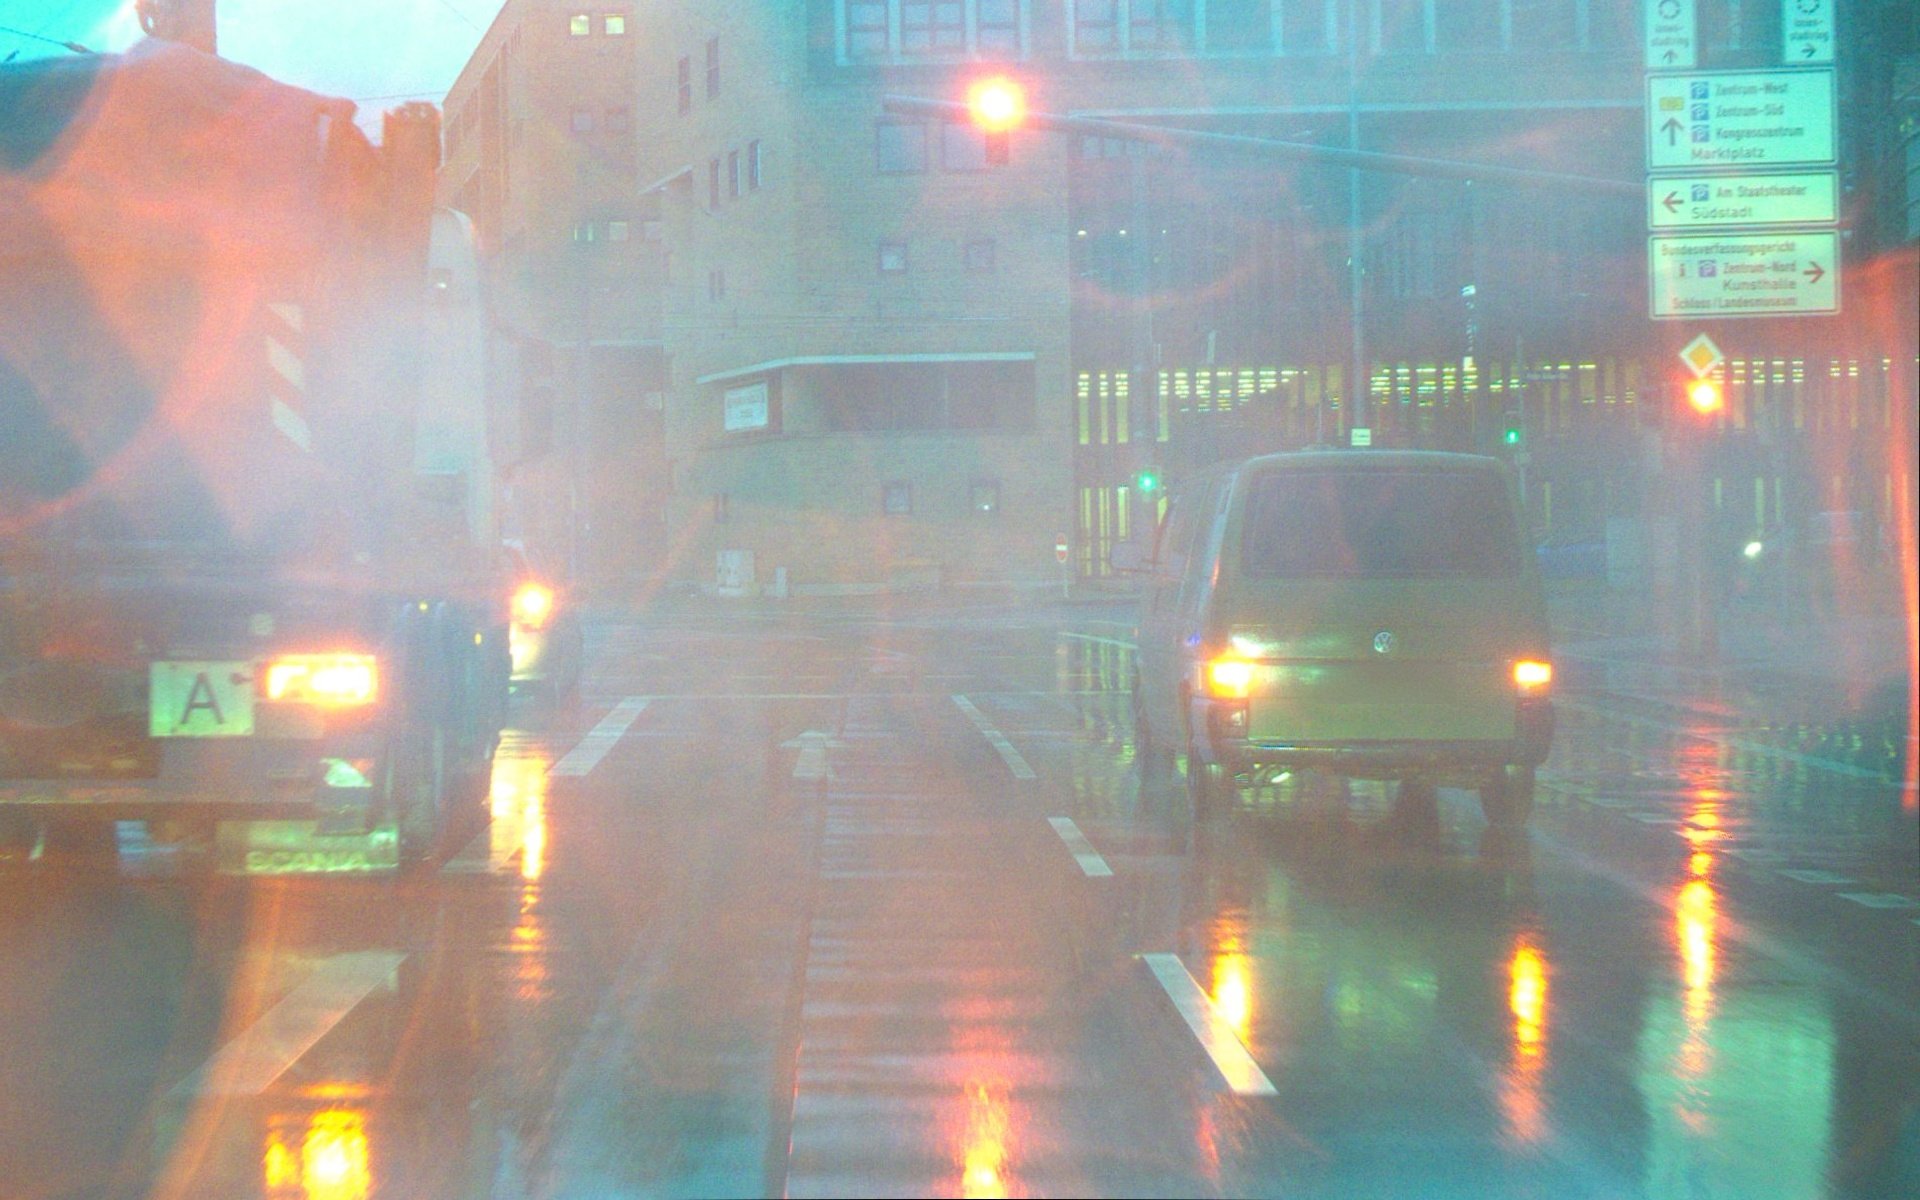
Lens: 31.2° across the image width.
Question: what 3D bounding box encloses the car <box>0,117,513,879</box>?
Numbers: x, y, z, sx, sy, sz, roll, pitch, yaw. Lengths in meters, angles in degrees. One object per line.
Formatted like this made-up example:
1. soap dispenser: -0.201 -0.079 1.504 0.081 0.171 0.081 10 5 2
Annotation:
1. car: -3.507 -0.421 15.929 2.355 2.817 6.360 -1 1 -3

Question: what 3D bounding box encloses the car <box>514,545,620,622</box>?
1. car: -7.005 -0.309 61.508 1.511 1.301 3.041 -1 1 1

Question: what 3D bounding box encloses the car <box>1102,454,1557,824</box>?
1. car: 1.917 0.148 19.181 1.843 1.800 4.487 -1 1 -3
